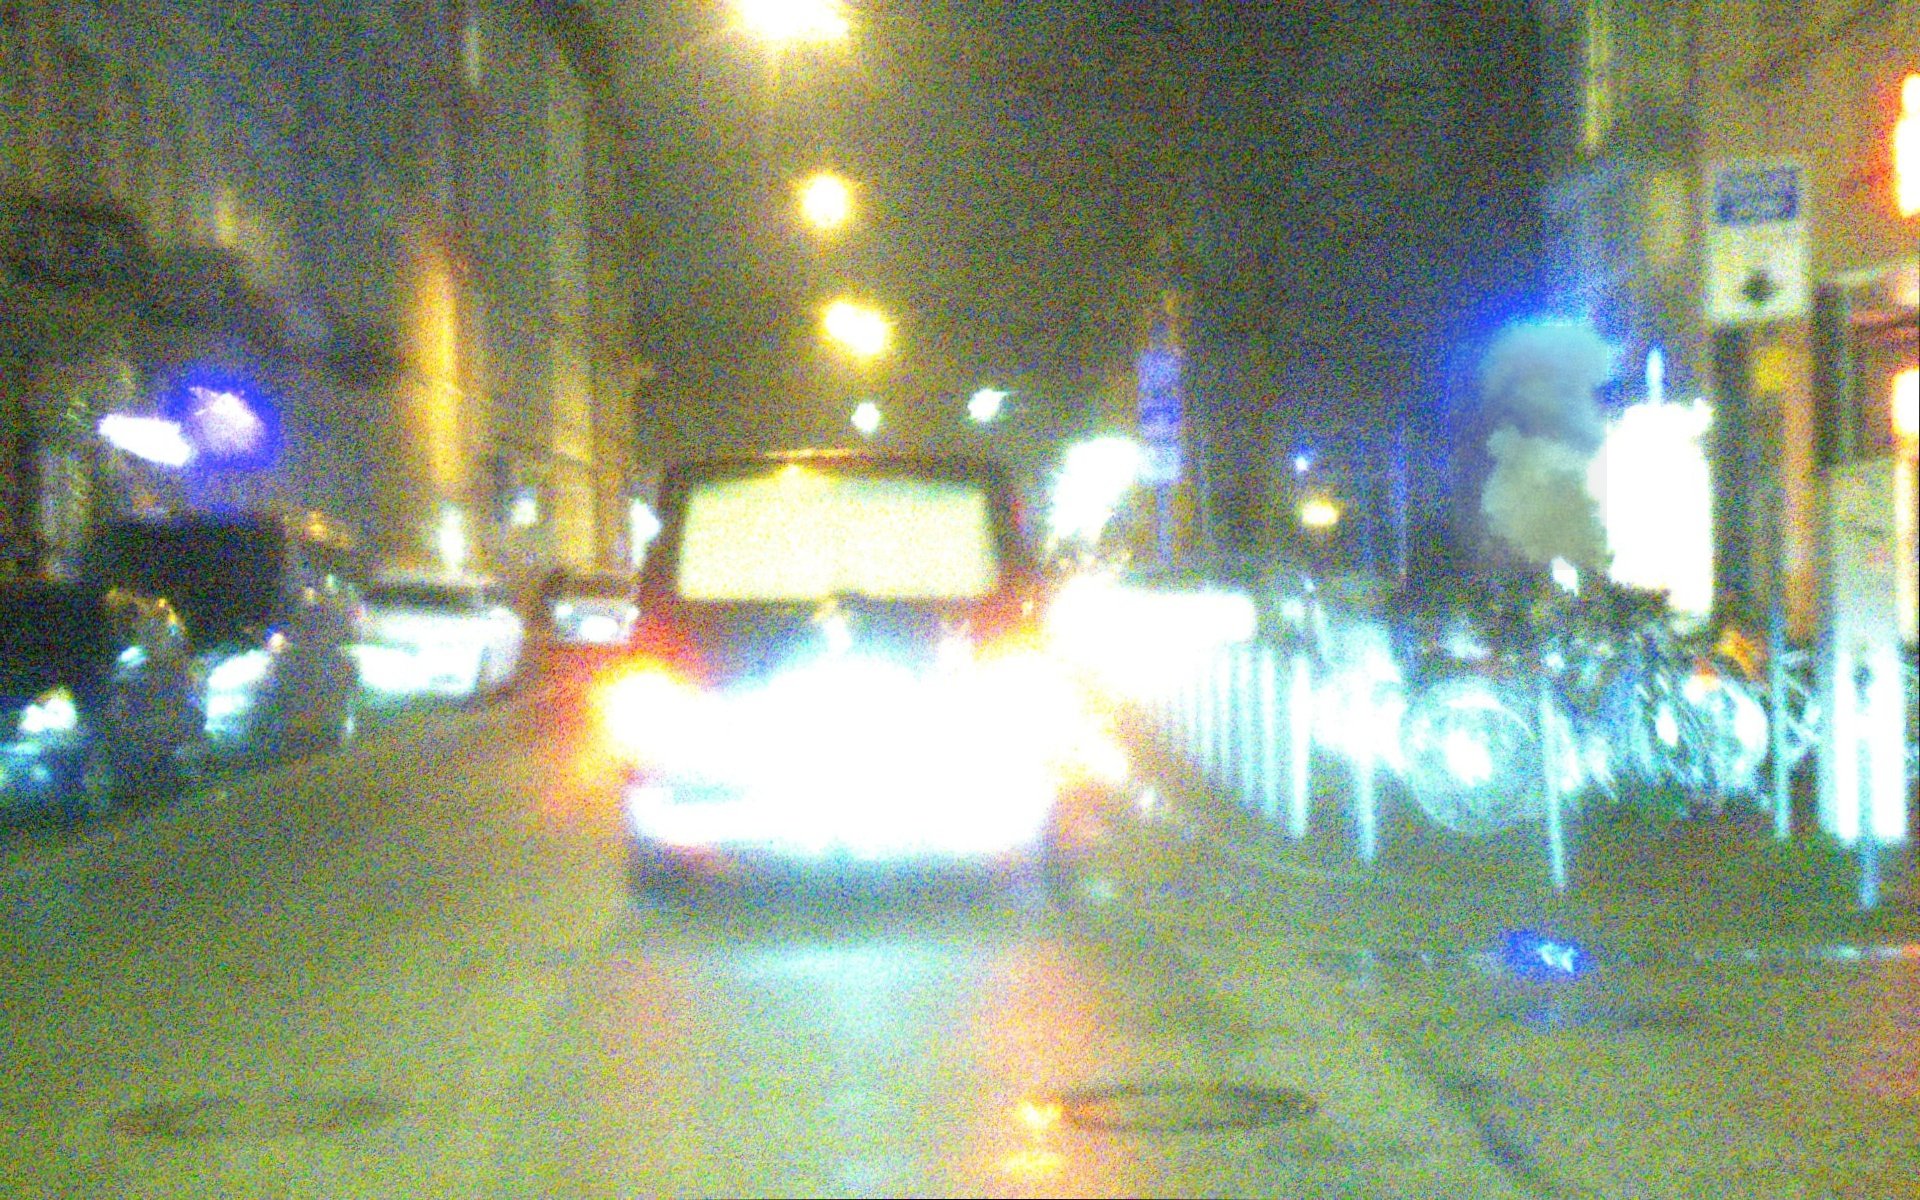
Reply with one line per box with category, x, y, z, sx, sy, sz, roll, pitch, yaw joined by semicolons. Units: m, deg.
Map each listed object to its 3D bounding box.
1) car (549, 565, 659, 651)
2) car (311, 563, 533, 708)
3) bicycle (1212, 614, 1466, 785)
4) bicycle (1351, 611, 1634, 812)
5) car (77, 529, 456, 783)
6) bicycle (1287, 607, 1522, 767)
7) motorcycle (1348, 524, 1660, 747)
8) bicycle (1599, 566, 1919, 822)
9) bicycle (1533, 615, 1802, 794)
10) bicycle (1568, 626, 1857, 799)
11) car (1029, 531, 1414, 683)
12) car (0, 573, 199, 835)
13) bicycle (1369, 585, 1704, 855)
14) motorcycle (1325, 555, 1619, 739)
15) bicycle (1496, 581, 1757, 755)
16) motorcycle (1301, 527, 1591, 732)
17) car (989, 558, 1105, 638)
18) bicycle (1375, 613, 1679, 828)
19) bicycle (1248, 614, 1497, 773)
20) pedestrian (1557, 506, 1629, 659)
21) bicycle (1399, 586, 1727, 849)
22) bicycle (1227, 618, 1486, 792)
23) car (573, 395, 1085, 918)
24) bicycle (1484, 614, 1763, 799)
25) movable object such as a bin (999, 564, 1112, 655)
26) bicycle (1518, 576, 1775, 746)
car;-6.414;0.117;62.221;1.672;1.486;3.722;0;1;-1
car;-6.117;0.359;39.577;1.767;1.478;4.772;2;1;0
bicycle;2.493;0.654;22.684;1.528;0.949;0.366;-6;0;-4
bicycle;3.157;0.660;20.438;1.529;1.020;0.366;-6;0;3
car;-5.412;0.364;27.541;1.996;1.823;5.207;-1;1;0
bicycle;3.108;0.609;24.074;1.529;0.949;0.366;-6;0;7
motorcycle;4.234;0.272;26.870;2.172;1.542;0.867;-5;0;-1
bicycle;4.296;0.501;18.492;1.528;1.198;0.366;-6;0;-2
bicycle;4.466;0.653;21.716;1.528;0.949;0.366;-6;0;-4
bicycle;4.370;0.650;19.997;1.529;0.831;0.325;-6;0;3
car;3.200;0.076;42.656;4.512;1.525;1.780;-4;1;-1
car;-5.912;0.580;21.322;1.569;1.455;3.720;-1;1;0
bicycle;2.931;0.606;17.546;1.529;1.198;0.366;-6;0;2
motorcycle;4.186;0.379;28.207;2.172;1.314;0.867;-5;0;-1
bicycle;4.315;0.439;22.285;1.528;0.949;0.366;-6;0;-5
motorcycle;4.235;0.254;30.082;2.288;1.583;0.867;-5;0;-1
car;1.626;-0.060;65.549;1.993;1.459;4.417;-1;1;-1
bicycle;3.148;0.664;19.131;1.528;1.020;0.366;-6;0;-2
bicycle;2.963;0.669;24.707;1.670;0.949;0.366;-6;0;7
pedestrian;7.579;-0.214;41.171;0.703;1.782;0.624;-3;2;3
bicycle;3.148;0.610;17.999;1.528;1.198;0.366;-6;0;-2
bicycle;2.559;0.674;22.245;1.528;0.949;0.366;-6;0;-4
car;-0.532;0.186;15.876;1.996;2.042;4.694;-1;1;0
bicycle;4.023;0.645;20.894;1.529;0.949;0.366;-6;0;3
movable object such as a bin;1.527;0.149;55.007;1.337;1.424;1.201;-1;1;-37
bicycle;4.546;0.402;22.790;1.528;0.949;0.366;-6;0;-4
